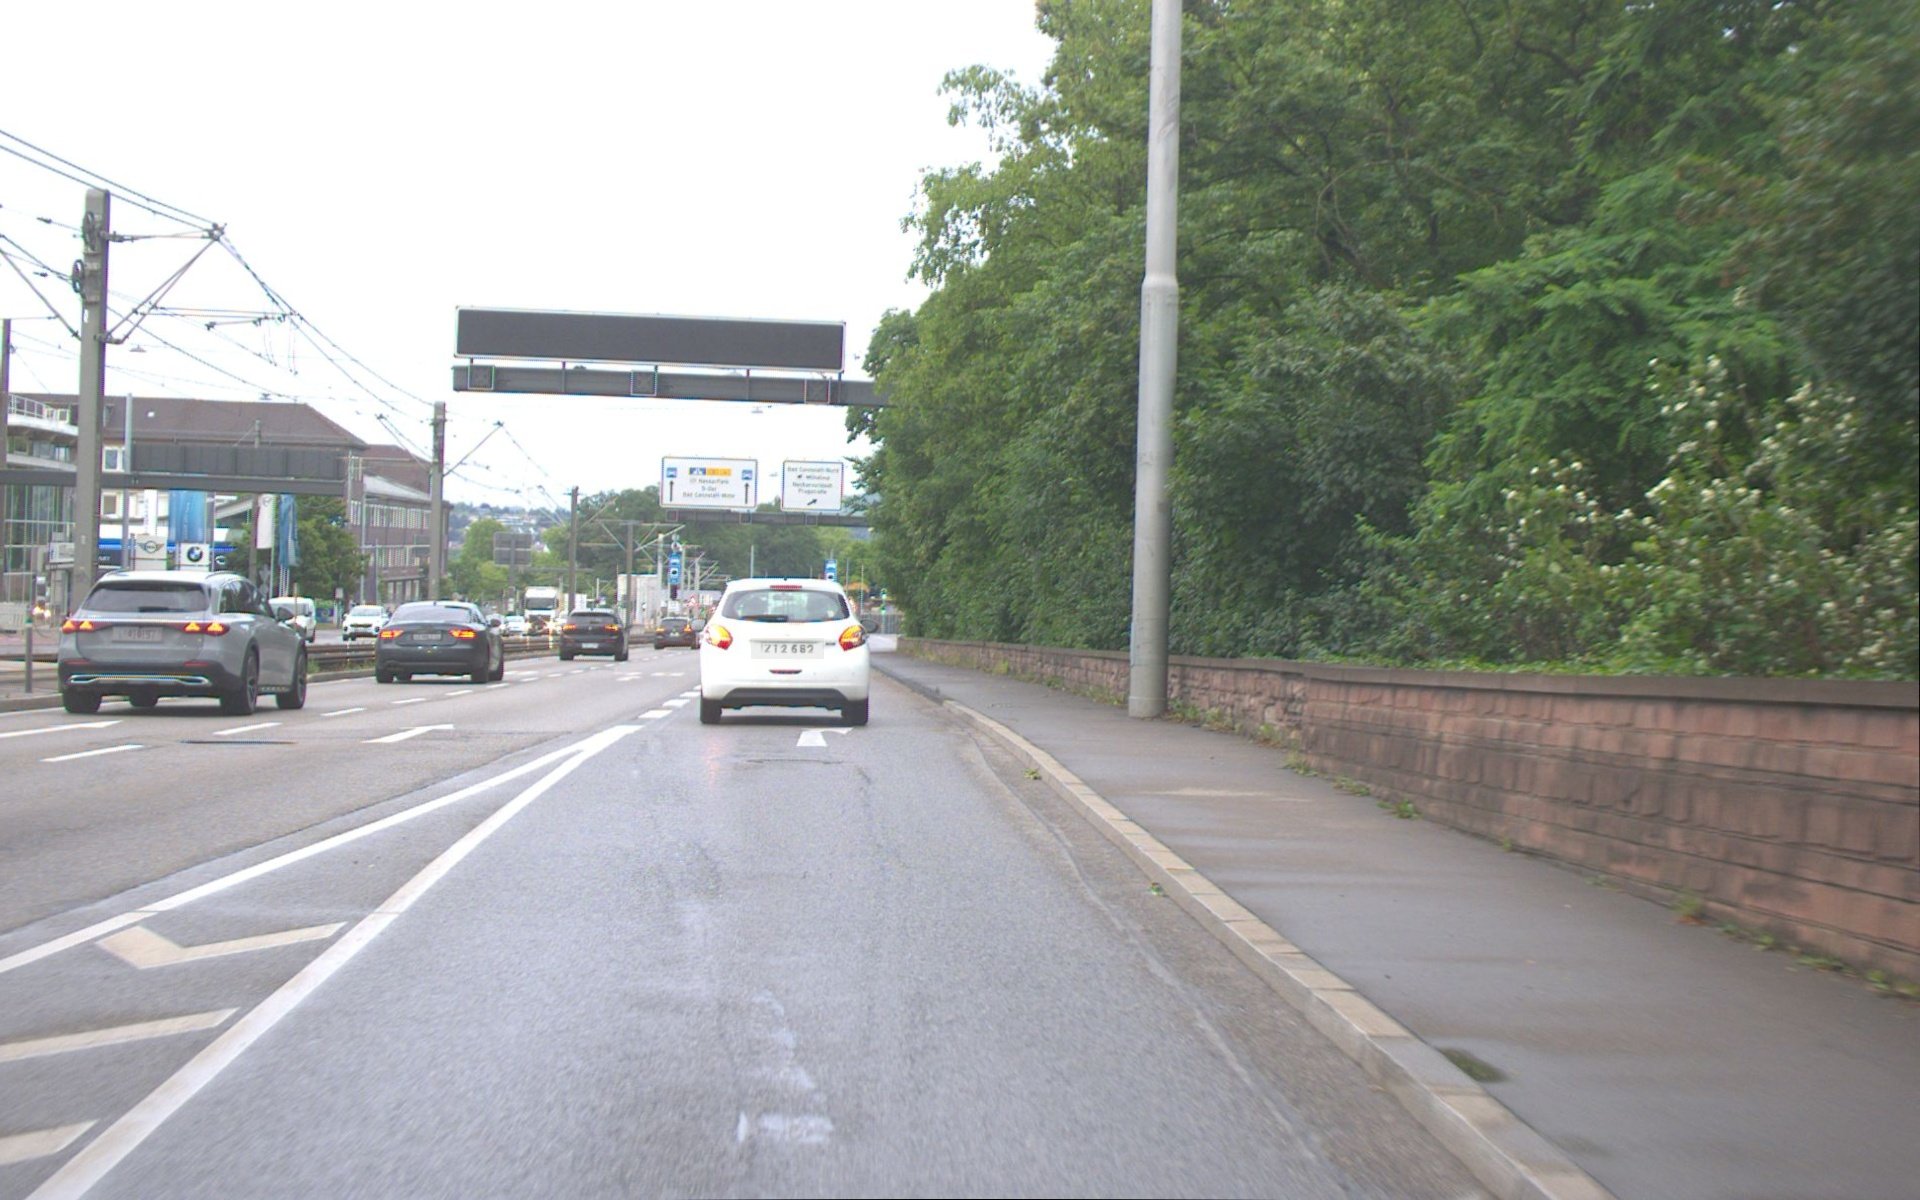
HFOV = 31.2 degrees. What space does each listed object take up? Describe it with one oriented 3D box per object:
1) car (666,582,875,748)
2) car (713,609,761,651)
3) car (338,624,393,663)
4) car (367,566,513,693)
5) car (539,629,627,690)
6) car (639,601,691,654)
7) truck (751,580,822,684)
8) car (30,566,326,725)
[{"bbox_3d":[-1.967,0.621,35.323,1.955,1.483,4.001,3,1,-4],"label":"car"},{"bbox_3d":[-10.499,1.440,162.036,2.081,1.866,4.096,1,-2,-1],"label":"car"},{"bbox_3d":[-27.823,2.046,161.018,1.993,1.656,4.000,3,-2,-2],"label":"car"},{"bbox_3d":[-8.603,0.457,57.145,1.721,1.885,3.535,2,3,2],"label":"car"},{"bbox_3d":[-10.437,1.654,95.426,1.993,1.570,4.000,2,-1,-1],"label":"car"},{"bbox_3d":[-12.761,1.204,148.869,1.993,2.007,3.999,3,-4,-2],"label":"car"},{"bbox_3d":[-10.328,1.985,205.939,3.464,5.383,12.049,3,-4,0],"label":"truck"},{"bbox_3d":[-8.089,0.493,35.925,1.821,1.560,4.091,0,-1,6],"label":"car"}]
